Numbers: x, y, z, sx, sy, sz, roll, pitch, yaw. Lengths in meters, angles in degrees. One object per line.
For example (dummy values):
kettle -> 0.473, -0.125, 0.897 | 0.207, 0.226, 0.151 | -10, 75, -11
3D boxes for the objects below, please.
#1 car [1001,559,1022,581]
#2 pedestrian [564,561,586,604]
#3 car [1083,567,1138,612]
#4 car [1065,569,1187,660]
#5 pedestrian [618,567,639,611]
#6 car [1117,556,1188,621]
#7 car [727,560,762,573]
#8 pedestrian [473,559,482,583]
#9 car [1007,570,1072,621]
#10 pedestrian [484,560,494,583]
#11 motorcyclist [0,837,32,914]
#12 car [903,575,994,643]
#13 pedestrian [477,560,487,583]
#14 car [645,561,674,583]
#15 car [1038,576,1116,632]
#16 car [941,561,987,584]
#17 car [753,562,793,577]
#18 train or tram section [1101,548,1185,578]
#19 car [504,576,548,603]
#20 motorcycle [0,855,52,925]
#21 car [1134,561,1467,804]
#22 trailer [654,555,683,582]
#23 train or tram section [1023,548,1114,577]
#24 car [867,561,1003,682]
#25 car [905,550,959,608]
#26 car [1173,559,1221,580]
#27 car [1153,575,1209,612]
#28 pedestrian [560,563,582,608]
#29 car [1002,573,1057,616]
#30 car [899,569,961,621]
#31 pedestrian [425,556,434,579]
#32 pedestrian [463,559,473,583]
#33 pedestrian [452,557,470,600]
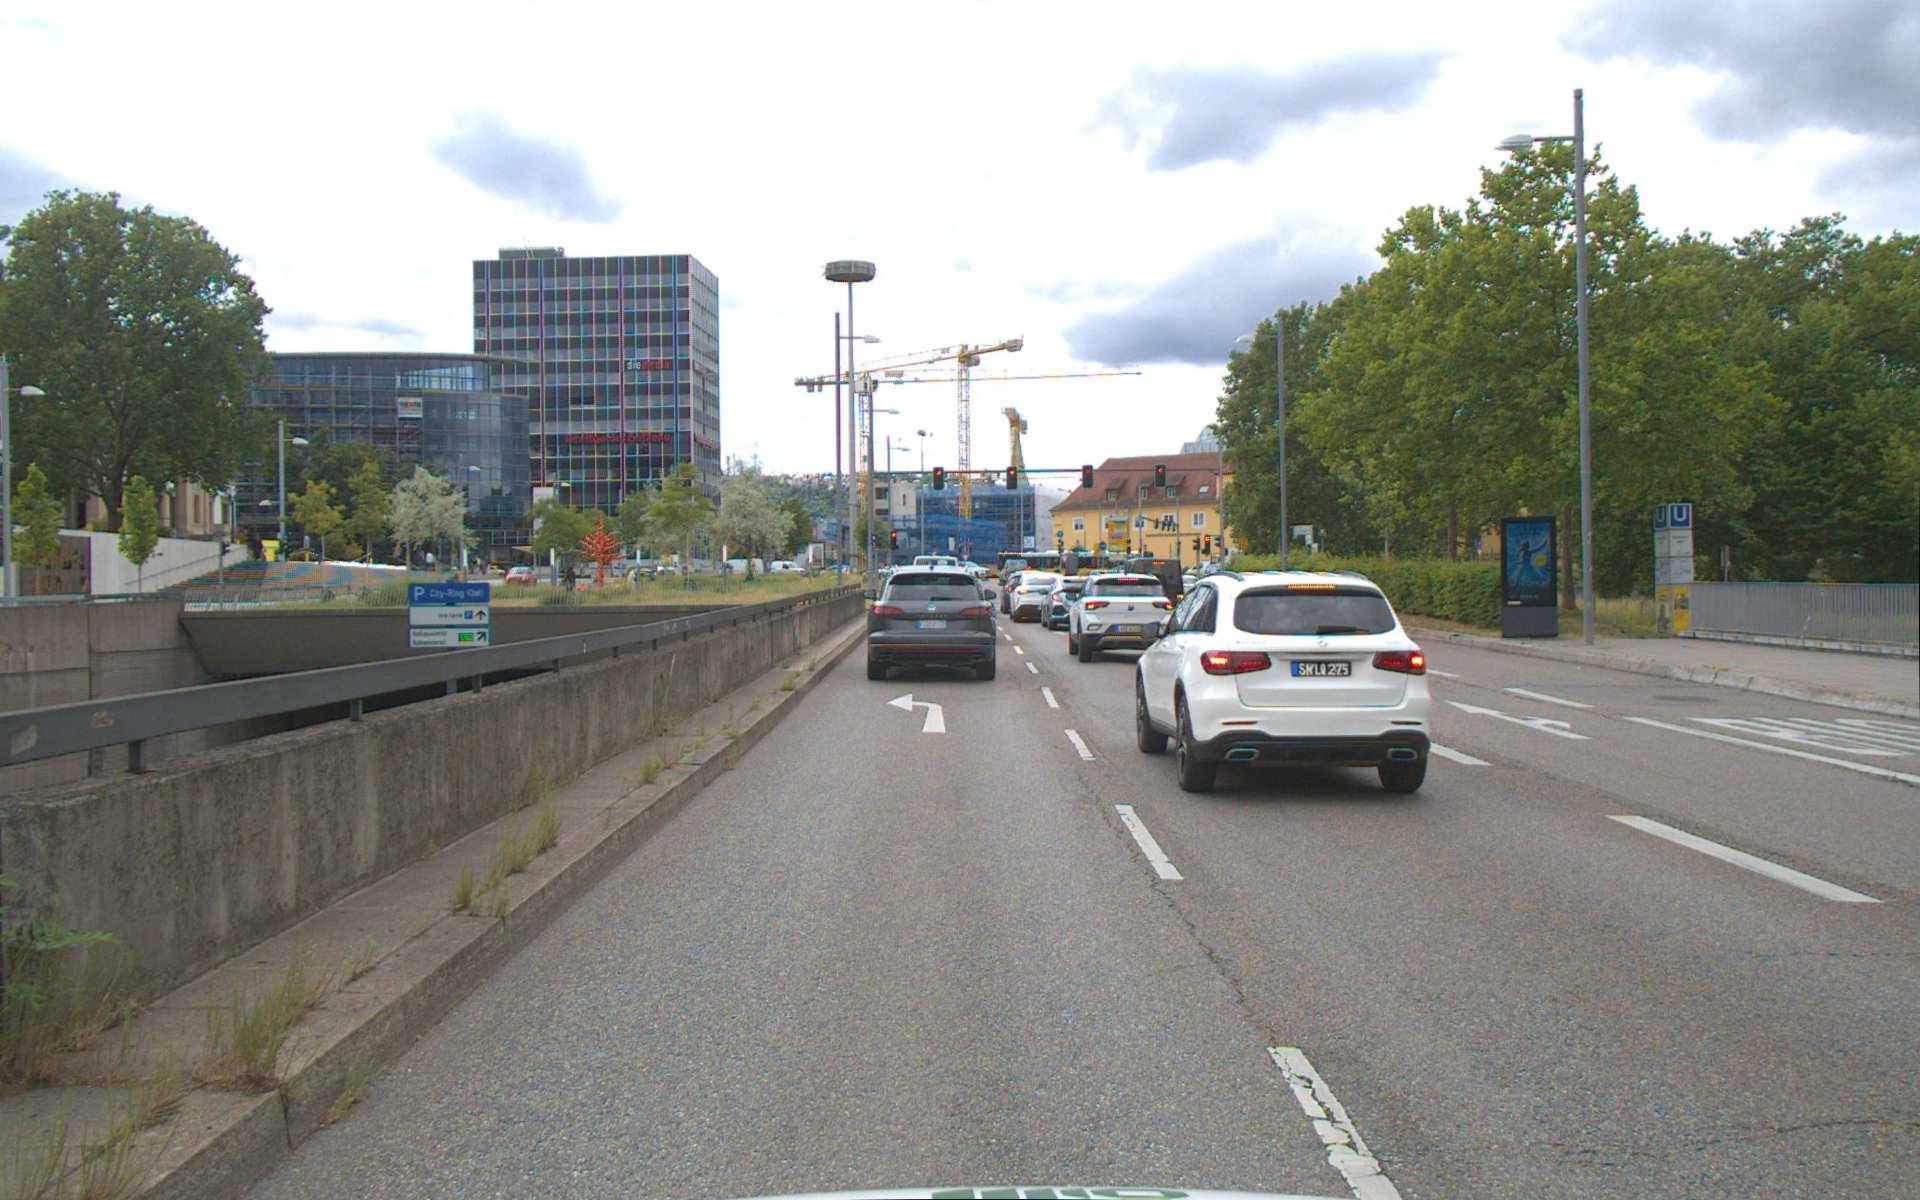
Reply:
car -> 4.176, -2.455, 134.768 | 1.586, 1.656, 4.000 | 1, 0, 0
pedestrian -> -18.340, -0.843, 78.737 | 0.781, 2.048, 0.829 | -2, 2, -28
car -> 6.175, -0.435, 68.137 | 1.871, 1.726, 4.012 | 1, 0, 0
car -> 3.021, 0.239, 30.971 | 1.887, 1.577, 4.490 | 0, 0, 1
pedestrian -> -15.658, -0.529, 78.101 | 0.842, 2.048, 0.629 | -1, 2, -1
car -> 6.371, -0.392, 55.046 | 1.871, 2.049, 4.012 | 1, 0, 0
car -> -26.620, -4.114, 204.274 | 3.913, 1.596, 1.833 | 1, 0, 30
pedestrian -> -43.177, -2.603, 148.003 | 0.728, 2.048, 0.788 | -2, 2, -21
car -> 2.483, -0.146, 52.329 | 1.887, 1.556, 4.490 | 0, 0, 1
pedestrian -> -42.741, -2.575, 150.043 | 0.728, 2.048, 1.108 | -2, 2, -20
motorcyclist -> -18.431, 5.318, 31.849 | 0.656, 1.375, 0.718 | -4, -2, -2
car -> -0.265, 0.156, 37.195 | 1.912, 1.408, 3.931 | 1, 1, -1
pedestrian -> -43.598, -2.600, 150.803 | 0.728, 2.048, 0.788 | -2, 2, -21
car -> -30.061, -2.851, 165.647 | 1.953, 2.048, 4.693 | -1, 2, 0
car -> 3.174, 0.086, 45.613 | 1.887, 1.457, 4.490 | 0, 0, 1
car -> 0.397, -2.645, 159.276 | 3.915, 2.049, 1.995 | 1, 0, 32
car -> -20.079, -3.277, 177.469 | 4.030, 1.638, 1.823 | 1, 0, 35
train or tram section -> 19.323, -3.926, 175.054 | 8.777, 3.062, 2.585 | 1, 0, 38
car -> -31.681, -0.766, 120.972 | 2.131, 1.887, 4.734 | -1, 1, -3
motorcycle -> -18.416, 5.612, 31.874 | 0.671, 1.117, 2.050 | -4, -2, -1
car -> 2.593, 0.553, 13.693 | 1.887, 1.682, 4.490 | 0, 0, 1
trailer -> -30.056, -3.275, 170.756 | 1.996, 2.650, 5.508 | 1, 2, -1
train or tram section -> 11.805, -4.065, 180.837 | 10.225, 3.062, 2.586 | 1, 0, 37
car -> -0.383, 0.269, 25.549 | 1.912, 1.680, 4.000 | 1, 1, -1
car -> -1.037, -0.787, 61.828 | 1.912, 2.053, 3.931 | 1, 1, -1
car -> 24.004, -3.073, 167.395 | 4.368, 2.049, 1.994 | 1, 0, 34
car -> 9.226, -0.298, 69.262 | 1.722, 1.472, 3.632 | 1, 0, -2
pedestrian -> -18.304, -0.694, 77.834 | 0.781, 2.048, 0.829 | -2, 2, -28
car -> 2.532, -0.213, 61.150 | 1.887, 1.556, 4.048 | 0, 0, 1
car -> -0.978, -0.192, 54.336 | 1.912, 1.627, 3.931 | 1, 1, -1
pedestrian -> -46.420, -2.837, 144.710 | 0.728, 2.048, 0.788 | -2, 2, -21
pedestrian -> -44.106, -2.598, 148.347 | 0.728, 2.048, 1.108 | -2, 2, -20
pedestrian -> -24.815, -1.062, 82.242 | 0.716, 2.047, 0.628 | -1, 6, -8
